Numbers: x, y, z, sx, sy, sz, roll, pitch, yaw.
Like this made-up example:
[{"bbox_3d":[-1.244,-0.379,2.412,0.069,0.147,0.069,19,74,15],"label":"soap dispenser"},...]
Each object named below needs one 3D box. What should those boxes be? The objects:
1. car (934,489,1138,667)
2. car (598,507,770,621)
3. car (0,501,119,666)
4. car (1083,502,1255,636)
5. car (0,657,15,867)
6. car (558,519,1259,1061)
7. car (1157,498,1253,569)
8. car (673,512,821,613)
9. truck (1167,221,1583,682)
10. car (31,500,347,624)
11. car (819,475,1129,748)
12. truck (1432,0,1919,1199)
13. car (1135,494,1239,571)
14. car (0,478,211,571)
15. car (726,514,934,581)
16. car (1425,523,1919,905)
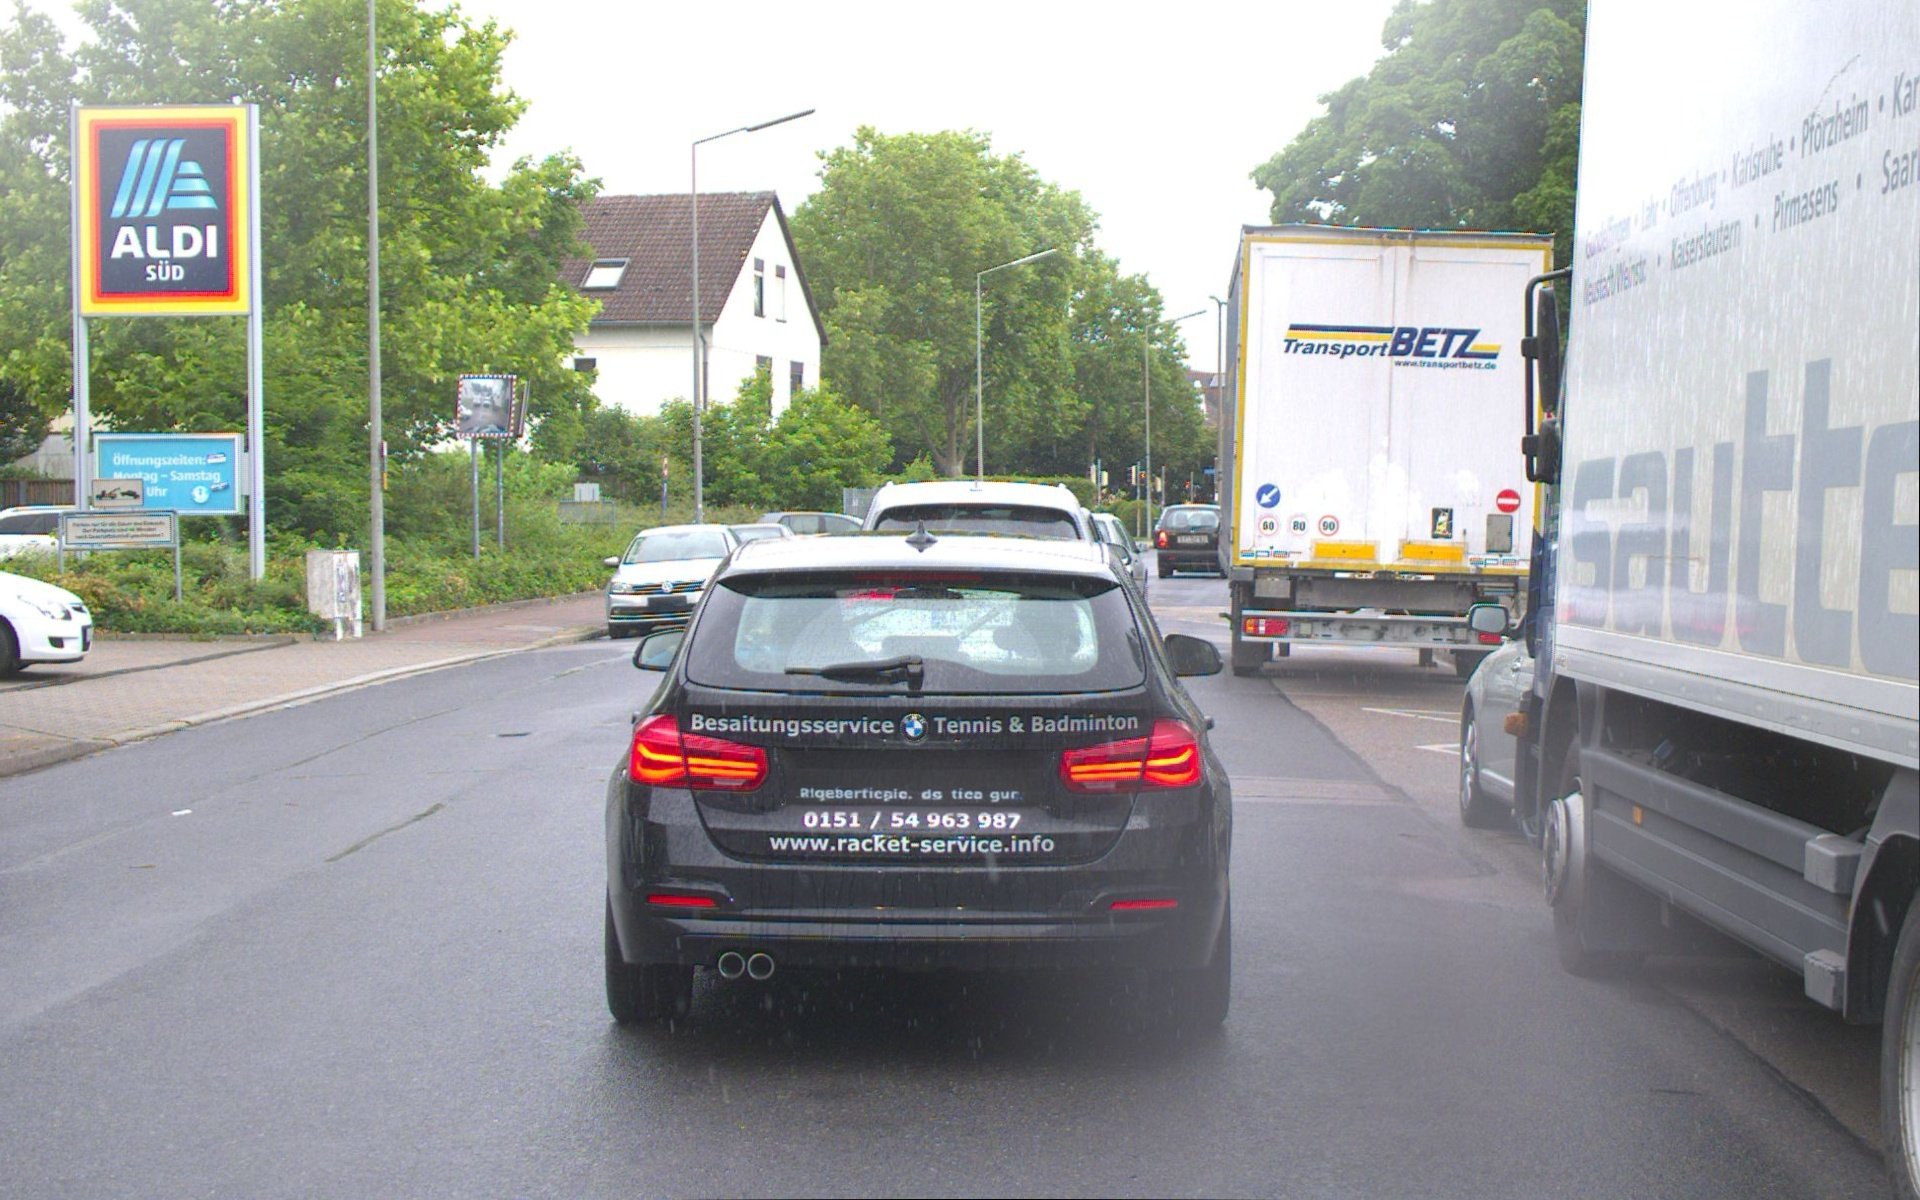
[{"bbox_3d":[0.668,-0.242,32.847,1.804,1.581,4.000,1,1,0],"label":"car"},{"bbox_3d":[-3.624,-0.520,45.893,1.705,1.362,4.601,-2,2,2],"label":"car"},{"bbox_3d":[-9.972,-0.185,31.390,4.190,1.455,1.713,1,2,-2],"label":"car"},{"bbox_3d":[2.742,-0.430,45.862,1.993,1.678,4.000,1,1,0],"label":"car"},{"bbox_3d":[-5.128,0.520,12.873,1.809,1.523,4.748,-4,1,0],"label":"car"},{"bbox_3d":[-0.188,0.452,10.926,1.804,1.390,4.001,1,1,-2],"label":"car"},{"bbox_3d":[5.731,-1.554,80.032,1.805,1.581,3.999,1,1,10],"label":"car"},{"bbox_3d":[-3.172,-0.592,51.867,1.706,1.362,3.838,-2,2,4],"label":"car"},{"bbox_3d":[3.567,-1.303,31.513,2.741,3.598,7.751,2,2,0],"label":"truck"},{"bbox_3d":[-9.789,-0.500,43.807,3.570,1.454,1.712,2,2,2],"label":"car"},{"bbox_3d":[0.026,0.025,22.174,1.804,1.581,4.001,1,1,-2],"label":"car"},{"bbox_3d":[3.181,-0.527,8.239,2.741,3.776,9.300,3,2,1],"label":"truck"},{"bbox_3d":[4.902,-1.452,73.817,1.805,1.581,3.999,1,1,10],"label":"car"},{"bbox_3d":[-14.786,-1.271,57.661,3.987,1.535,1.911,0,2,2],"label":"car"},{"bbox_3d":[-2.643,-1.081,70.611,4.187,1.358,1.589,0,2,2],"label":"car"},{"bbox_3d":[3.284,0.392,15.423,1.797,1.436,4.345,0,2,0],"label":"car"}]
